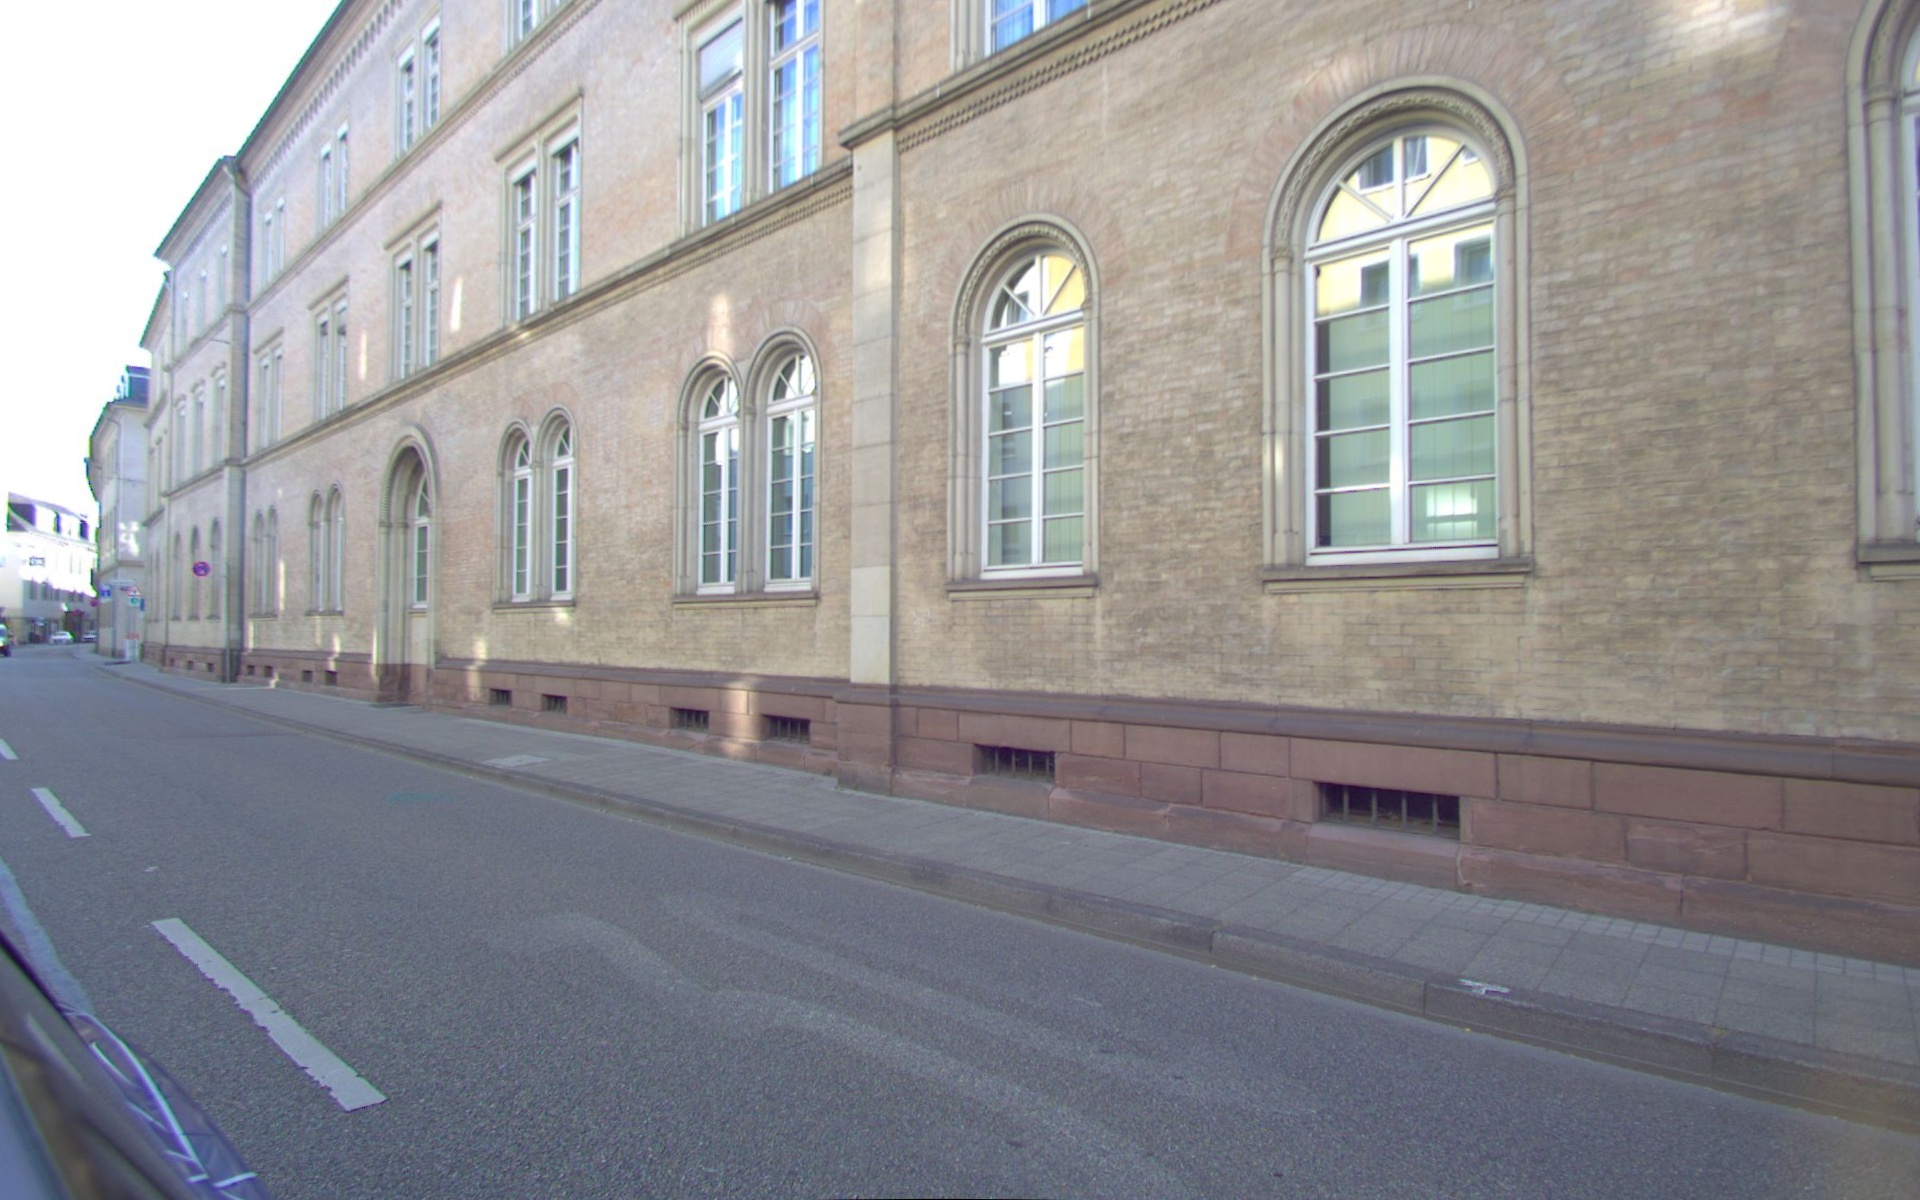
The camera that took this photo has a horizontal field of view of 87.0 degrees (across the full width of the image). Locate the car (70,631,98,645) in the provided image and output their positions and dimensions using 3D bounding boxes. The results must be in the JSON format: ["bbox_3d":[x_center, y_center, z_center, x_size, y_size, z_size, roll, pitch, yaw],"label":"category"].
[{"bbox_3d":[-109.435,4.766,126.427,1.896,1.737,4.242,1,-2,-31],"label":"car"}]

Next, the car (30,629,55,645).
[{"bbox_3d":[-102.433,4.106,112.987,1.511,1.737,3.749,1,-2,-34],"label":"car"}]

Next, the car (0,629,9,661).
[{"bbox_3d":[-54.286,2.498,56.246,1.895,1.735,4.966,2,-2,-42],"label":"car"}]

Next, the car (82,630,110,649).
[{"bbox_3d":[-80.135,3.678,93.870,1.638,1.737,3.748,1,-2,-36],"label":"car"}]
